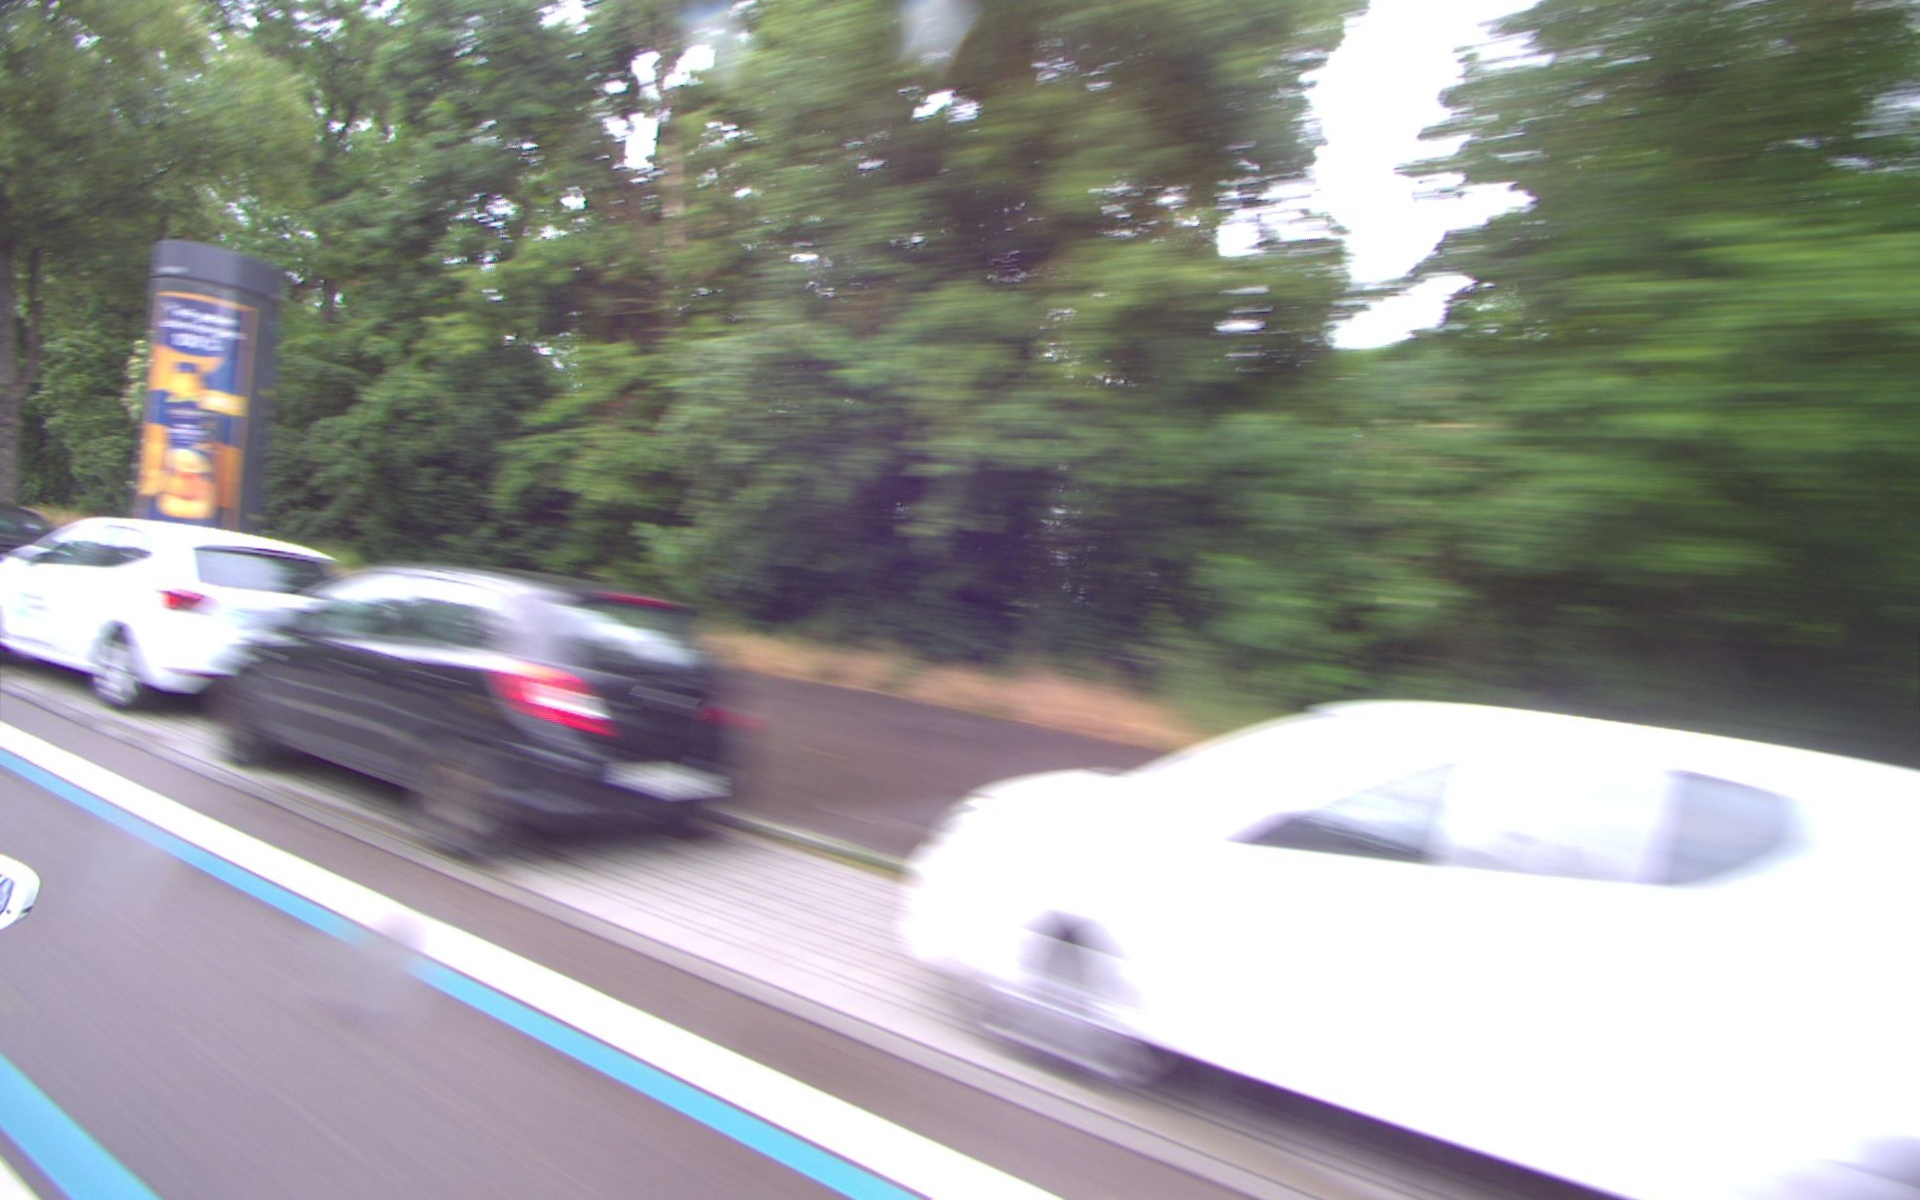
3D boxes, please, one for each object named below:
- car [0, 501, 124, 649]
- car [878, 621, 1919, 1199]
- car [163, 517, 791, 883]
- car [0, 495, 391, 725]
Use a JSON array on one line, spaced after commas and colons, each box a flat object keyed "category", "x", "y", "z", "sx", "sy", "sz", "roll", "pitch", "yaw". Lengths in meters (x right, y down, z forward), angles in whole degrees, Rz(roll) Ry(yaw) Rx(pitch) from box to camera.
[{"category": "car", "x": -11.426, "y": -0.493, "z": 11.164, "sx": 4.370, "sy": 1.409, "sz": 1.757, "roll": 7, "pitch": -2, "yaw": 29}, {"category": "car", "x": 1.715, "y": 1.073, "z": 3.594, "sx": 3.613, "sy": 1.477, "sz": 1.563, "roll": 7, "pitch": -1, "yaw": 30}, {"category": "car", "x": -3.166, "y": 0.477, "z": 6.398, "sx": 3.835, "sy": 1.481, "sz": 1.663, "roll": 7, "pitch": -3, "yaw": 32}, {"category": "car", "x": -7.064, "y": 0.028, "z": 8.850, "sx": 3.931, "sy": 1.483, "sz": 1.622, "roll": 7, "pitch": -2, "yaw": 29}]
